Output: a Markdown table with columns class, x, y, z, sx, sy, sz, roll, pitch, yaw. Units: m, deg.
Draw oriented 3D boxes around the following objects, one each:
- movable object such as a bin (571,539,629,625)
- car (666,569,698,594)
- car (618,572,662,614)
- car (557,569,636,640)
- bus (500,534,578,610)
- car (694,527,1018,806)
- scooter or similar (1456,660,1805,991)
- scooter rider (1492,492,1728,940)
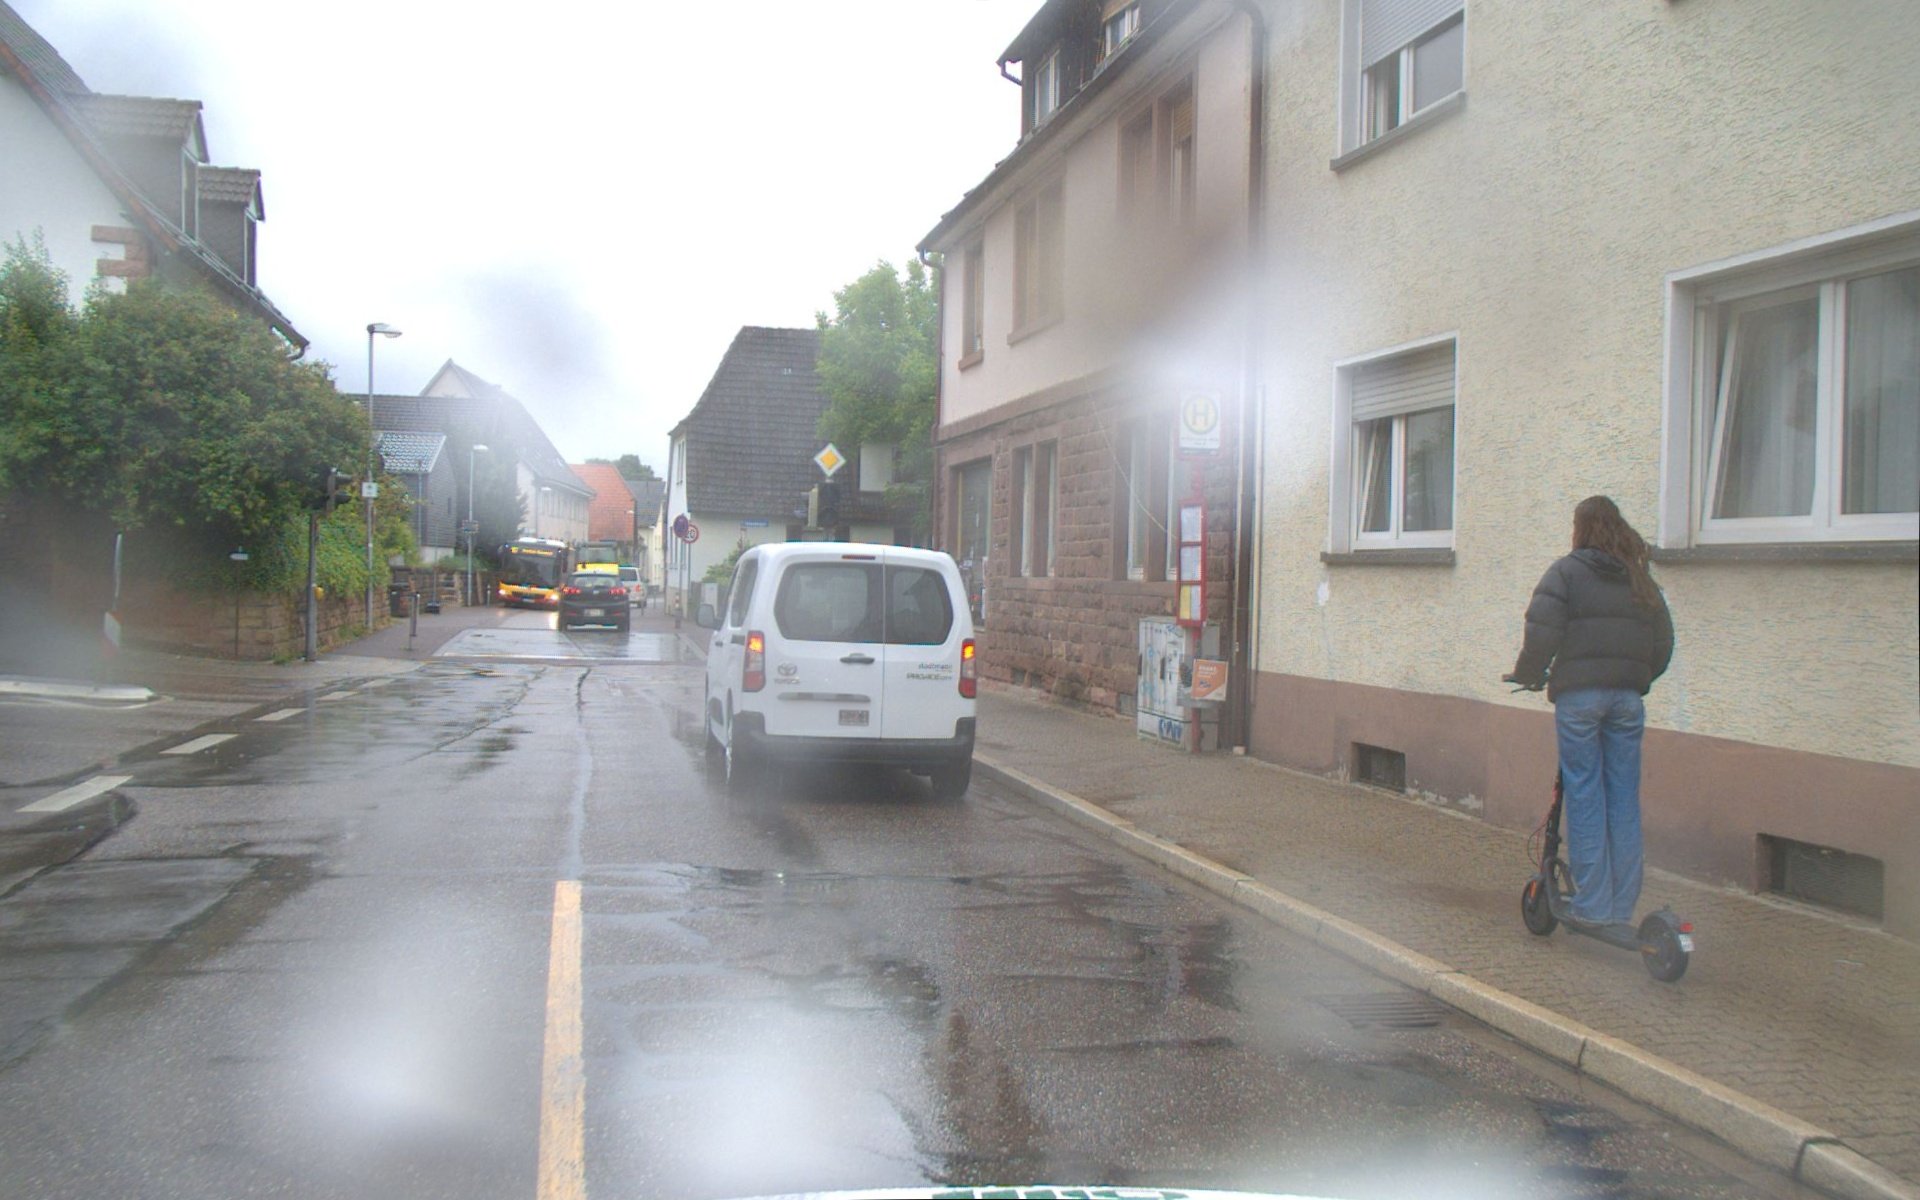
| class | x | y | z | sx | sy | sz | roll | pitch | yaw |
| --- | --- | --- | --- | --- | --- | --- | --- | --- | --- |
| movable object such as a bin | -12.032 | -0.602 | 55.327 | 1.697 | 2.699 | 3.962 | 3 | 0 | -12 |
| car | -22.925 | -1.489 | 136.711 | 1.953 | 2.049 | 4.000 | 0 | 0 | 0 |
| car | -15.659 | -0.329 | 81.105 | 1.860 | 1.982 | 3.993 | 0 | 0 | -8 |
| car | -9.092 | 0.087 | 41.324 | 1.778 | 1.624 | 3.743 | 3 | 0 | -13 |
| bus | -18.938 | -1.402 | 74.957 | 2.602 | 3.051 | 12.162 | 2 | 2 | -11 |
| car | -0.983 | 0.438 | 13.087 | 1.862 | 1.825 | 3.800 | 3 | 0 | -14 |
| scooter or similar | 2.677 | 0.850 | 6.757 | 0.610 | 1.147 | 1.397 | 2 | 0 | -14 |
| scooter rider | 2.682 | 0.464 | 6.856 | 0.718 | 1.763 | 0.516 | 2 | -1 | -14 |
